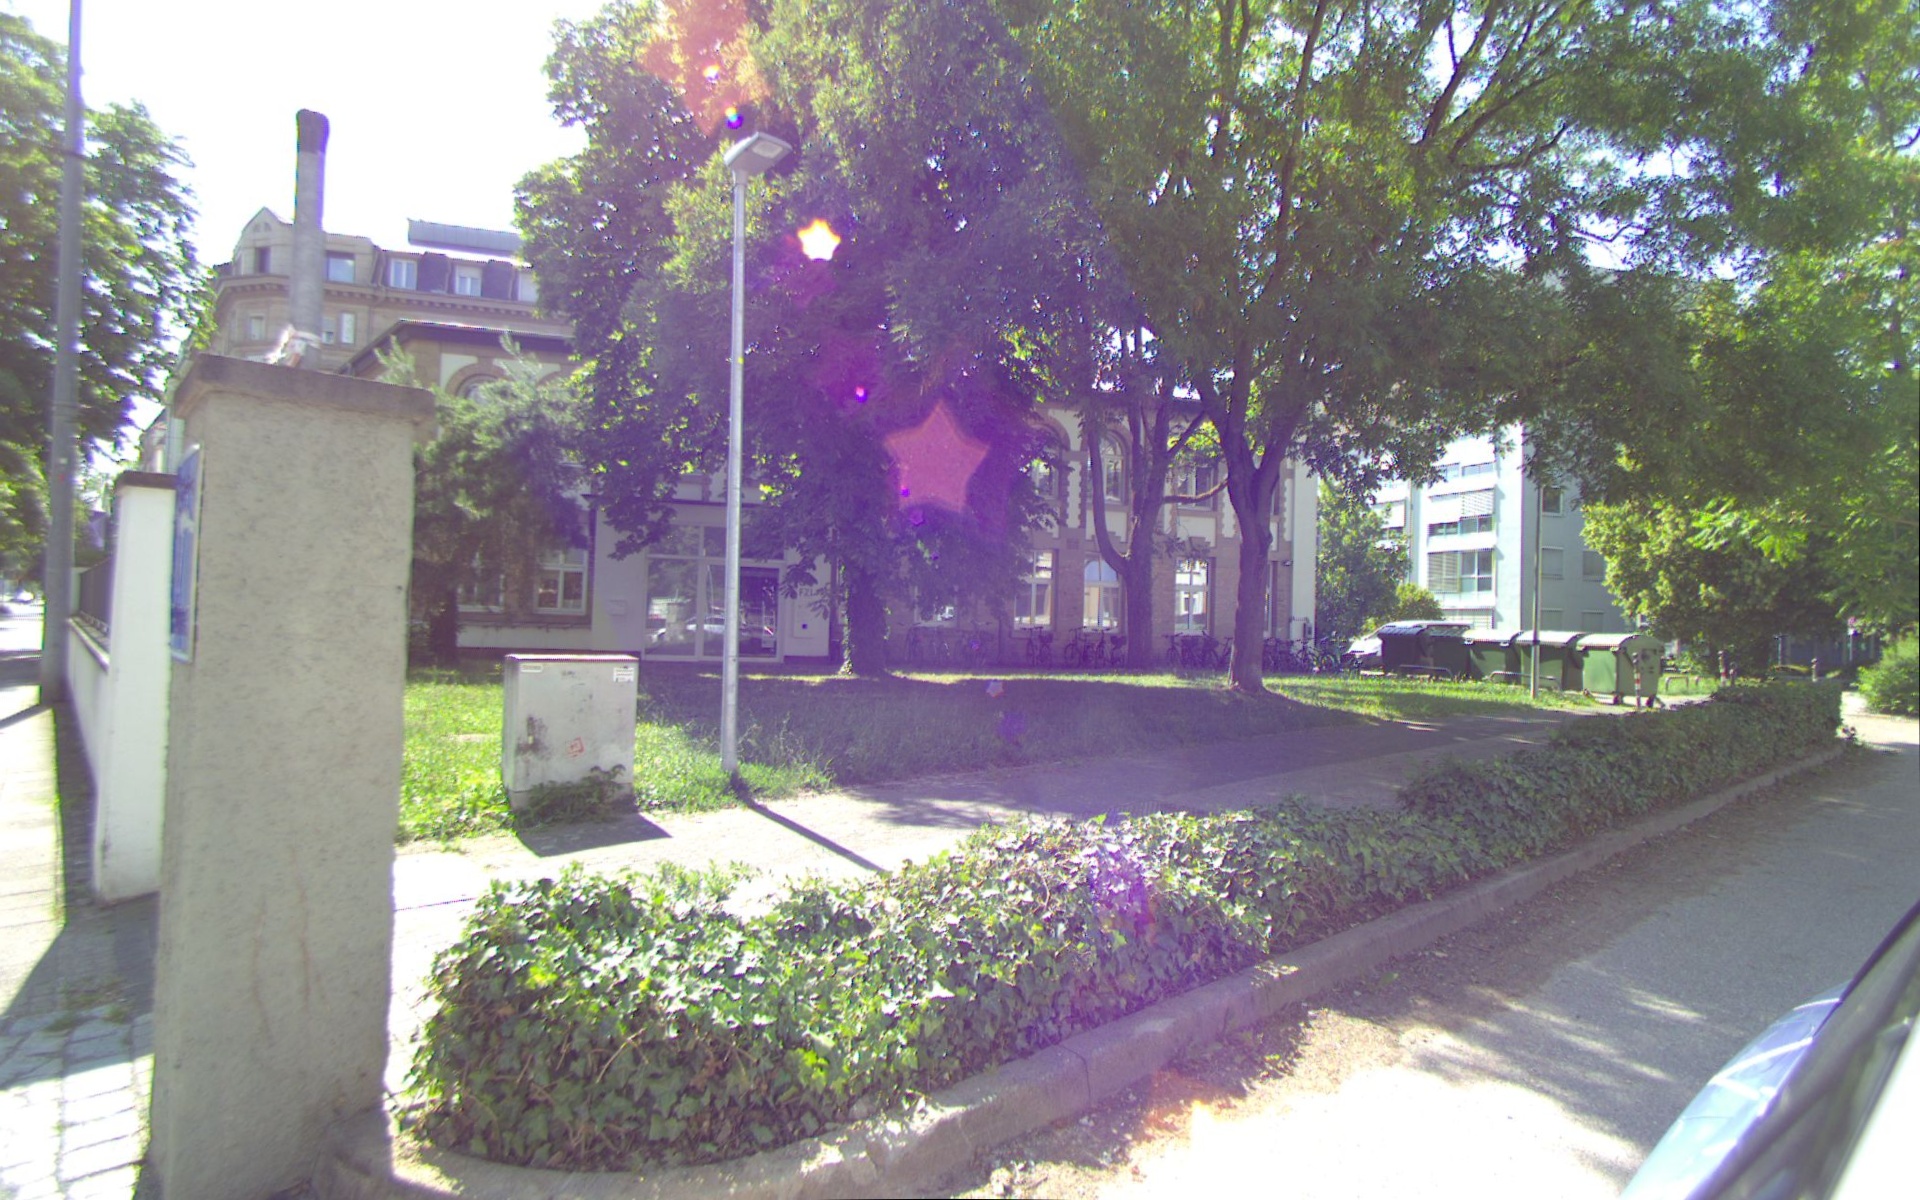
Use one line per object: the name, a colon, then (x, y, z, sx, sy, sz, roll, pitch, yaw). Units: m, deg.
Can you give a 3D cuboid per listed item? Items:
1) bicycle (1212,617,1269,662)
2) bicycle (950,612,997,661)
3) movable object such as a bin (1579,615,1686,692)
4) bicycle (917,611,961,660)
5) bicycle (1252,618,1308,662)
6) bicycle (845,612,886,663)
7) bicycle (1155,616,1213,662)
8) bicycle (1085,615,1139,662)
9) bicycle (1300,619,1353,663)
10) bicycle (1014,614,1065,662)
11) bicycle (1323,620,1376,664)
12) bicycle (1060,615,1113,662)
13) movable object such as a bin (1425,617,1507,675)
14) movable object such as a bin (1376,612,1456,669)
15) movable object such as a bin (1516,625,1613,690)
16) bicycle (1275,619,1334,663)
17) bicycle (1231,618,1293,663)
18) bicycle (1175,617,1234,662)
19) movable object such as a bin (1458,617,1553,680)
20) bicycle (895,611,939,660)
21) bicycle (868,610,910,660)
bicycle: (7.780, 1.077, 28.142, 0.575, 1.176, 1.926, 2, -1, -17)
bicycle: (0.330, 0.922, 26.186, 0.575, 1.176, 2.107, 2, -1, -17)
movable object such as a bin: (13.634, 1.065, 20.569, 1.191, 1.481, 1.393, 1, -1, -5)
bicycle: (-0.561, 0.880, 25.984, 0.575, 1.176, 2.107, 2, -1, -17)
bicycle: (9.004, 1.108, 28.565, 0.484, 1.176, 1.918, 2, -1, -17)
bicycle: (-2.366, 0.899, 25.113, 0.575, 1.176, 2.107, 2, -1, -17)
bicycle: (6.112, 1.053, 27.693, 0.575, 1.176, 2.107, 2, -1, -17)
bicycle: (4.070, 1.009, 27.225, 0.575, 1.176, 2.107, 2, -1, -17)
bicycle: (10.447, 1.151, 28.893, 0.496, 1.176, 1.808, 2, -1, -12)
bicycle: (2.067, 0.967, 26.622, 0.575, 1.176, 2.107, 2, -1, -17)
bicycle: (11.074, 1.179, 28.823, 0.546, 1.176, 1.947, 2, -1, -7)
bicycle: (3.354, 1.003, 26.971, 0.575, 1.176, 2.107, 2, -1, -17)
movable object such as a bin: (12.446, 1.116, 24.929, 1.190, 1.366, 1.355, 2, -1, -20)
movable object such as a bin: (11.891, 1.044, 26.405, 1.224, 1.427, 1.439, 2, -1, -21)
movable object such as a bin: (13.104, 1.226, 21.966, 1.190, 1.317, 1.358, 2, -1, -20)
bicycle: (9.796, 1.155, 28.858, 0.600, 1.176, 1.855, 2, -1, -17)
bicycle: (8.460, 1.126, 28.422, 0.575, 1.176, 2.107, 2, -1, -17)
bicycle: (6.723, 1.069, 27.936, 0.575, 1.176, 2.107, 2, -1, -17)
movable object such as a bin: (12.586, 1.109, 23.388, 1.190, 1.379, 1.505, 2, -1, -20)
bicycle: (-1.109, 0.876, 25.688, 0.575, 1.176, 2.107, 2, -1, -17)
bicycle: (-1.804, 0.853, 25.482, 0.575, 1.176, 2.107, 2, -1, -17)
